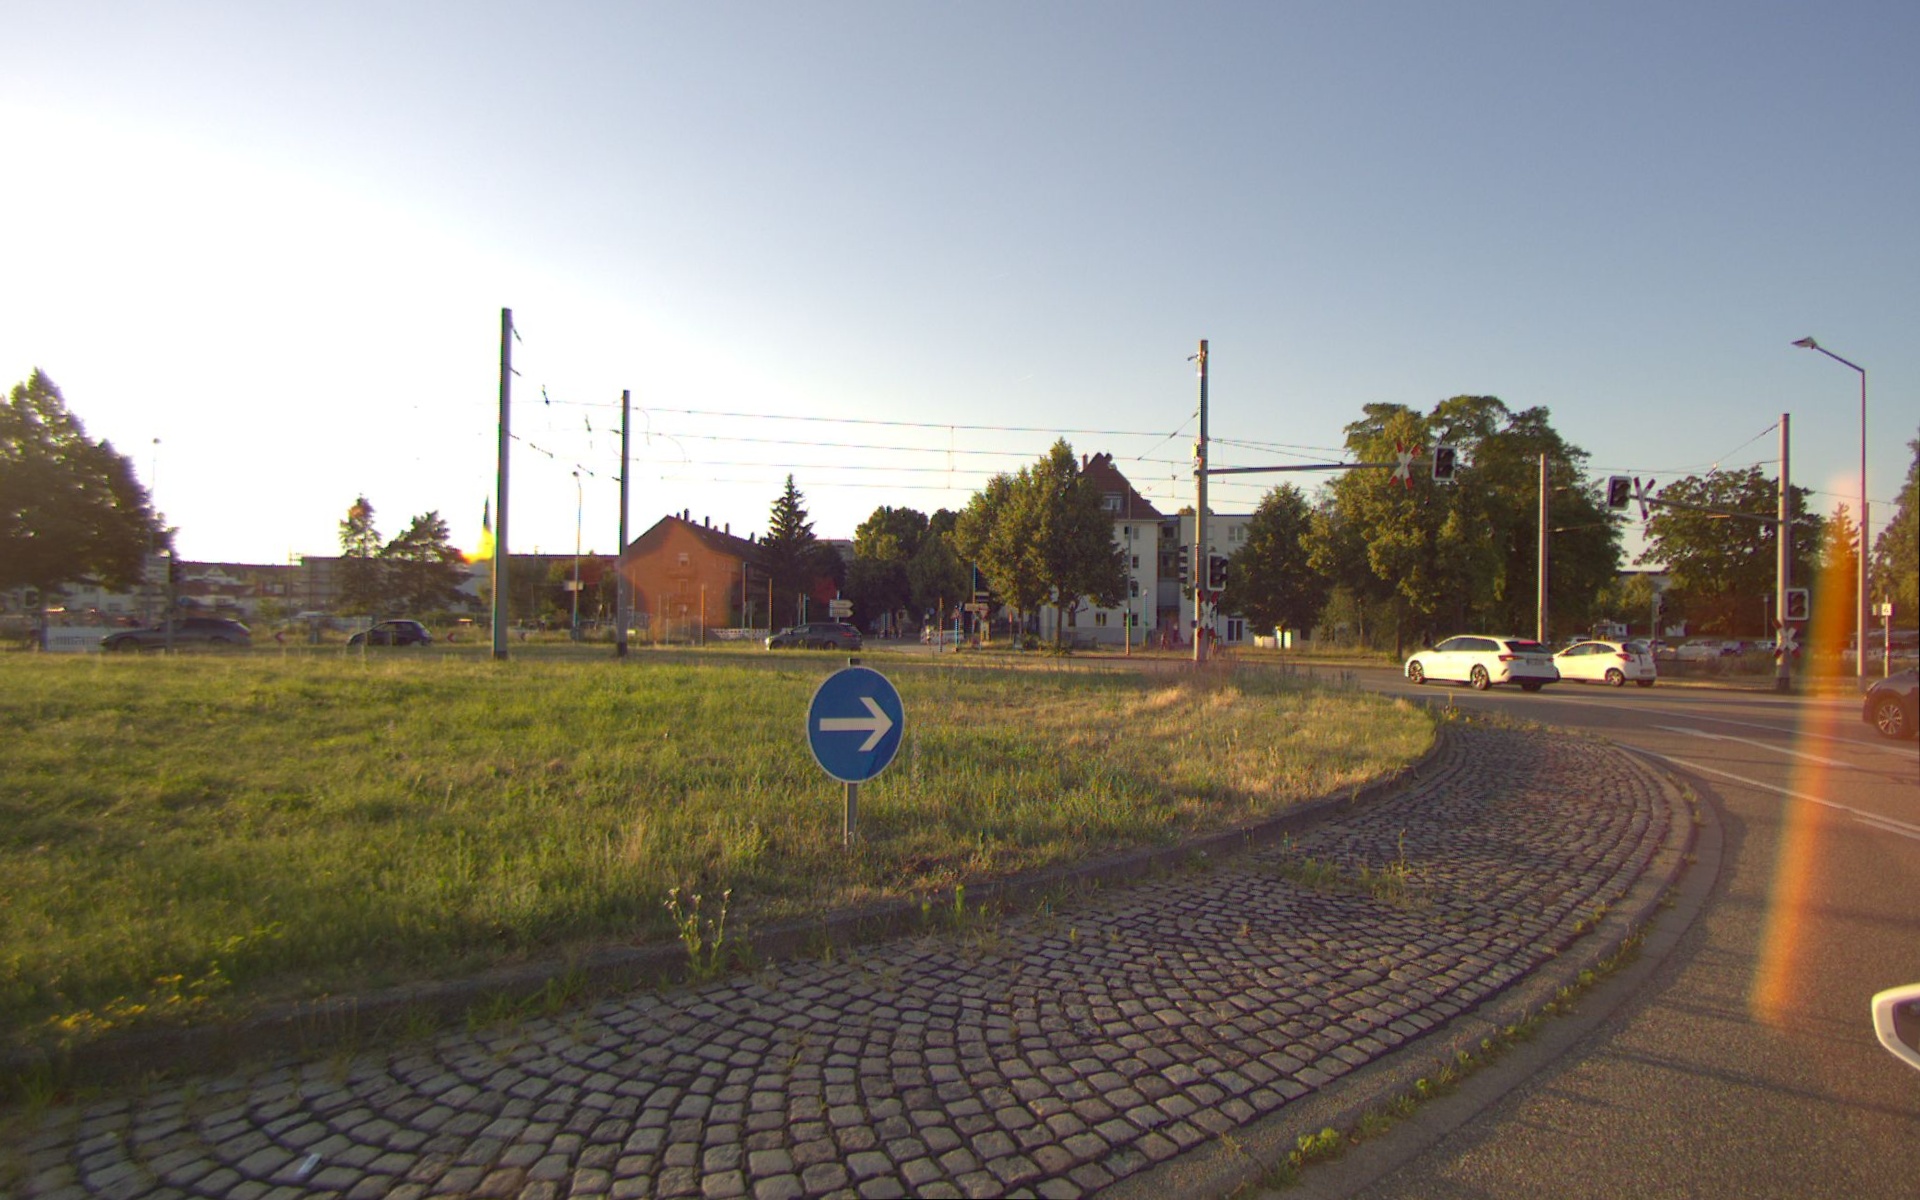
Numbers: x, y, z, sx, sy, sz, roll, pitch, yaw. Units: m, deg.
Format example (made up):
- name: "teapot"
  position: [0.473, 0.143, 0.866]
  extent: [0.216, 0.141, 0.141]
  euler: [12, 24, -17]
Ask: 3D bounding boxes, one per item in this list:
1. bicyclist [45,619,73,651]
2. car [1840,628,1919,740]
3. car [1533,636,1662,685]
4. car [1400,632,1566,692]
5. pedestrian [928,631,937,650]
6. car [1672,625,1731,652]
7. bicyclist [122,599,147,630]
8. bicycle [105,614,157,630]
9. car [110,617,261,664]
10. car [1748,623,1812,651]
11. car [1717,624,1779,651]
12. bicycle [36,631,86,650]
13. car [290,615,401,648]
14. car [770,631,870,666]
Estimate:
- name: "bicyclist"
  position: [-46.673, 1.794, 52.031]
  extent: [0.800, 1.662, 0.814]
  euler: [0, -1, 26]
- name: "car"
  position: [15.012, 1.259, 14.136]
  extent: [1.767, 1.654, 4.459]
  euler: [2, -1, 8]
- name: "car"
  position: [21.584, 2.026, 34.154]
  extent: [1.531, 1.462, 3.470]
  euler: [2, -1, -21]
- name: "car"
  position: [14.376, 1.658, 27.936]
  extent: [1.697, 1.468, 4.541]
  euler: [0, -1, -10]
- name: "pedestrian"
  position: [-2.016, 2.989, 73.724]
  extent: [0.539, 1.392, 0.357]
  euler: [1, -1, -18]
- name: "car"
  position: [59.743, 3.082, 81.029]
  extent: [1.960, 2.126, 4.001]
  euler: [1, -1, 2]
- name: "bicyclist"
  position: [-44.093, 0.771, 53.663]
  extent: [0.786, 1.655, 0.693]
  euler: [0, -1, -18]
- name: "bicycle"
  position: [-44.332, 1.194, 53.722]
  extent: [2.102, 0.857, 0.510]
  euler: [0, -1, -19]
- name: "car"
  position: [-30.390, 1.570, 39.594]
  extent: [4.548, 1.771, 1.736]
  euler: [1, -1, -33]
- name: "car"
  position: [65.985, 2.973, 80.922]
  extent: [1.960, 2.126, 4.001]
  euler: [1, -1, 2]
- name: "car"
  position: [63.222, 2.984, 80.624]
  extent: [1.960, 2.126, 4.001]
  euler: [1, -1, 2]
- name: "bicycle"
  position: [-46.664, 2.099, 52.160]
  extent: [0.539, 0.993, 1.842]
  euler: [0, -1, 26]
- name: "car"
  position: [-28.470, 1.450, 46.657]
  extent: [4.067, 1.465, 1.746]
  euler: [0, -1, -16]
- name: "car"
  position: [-6.225, 2.116, 44.720]
  extent: [4.051, 1.486, 1.752]
  euler: [0, -1, 15]
